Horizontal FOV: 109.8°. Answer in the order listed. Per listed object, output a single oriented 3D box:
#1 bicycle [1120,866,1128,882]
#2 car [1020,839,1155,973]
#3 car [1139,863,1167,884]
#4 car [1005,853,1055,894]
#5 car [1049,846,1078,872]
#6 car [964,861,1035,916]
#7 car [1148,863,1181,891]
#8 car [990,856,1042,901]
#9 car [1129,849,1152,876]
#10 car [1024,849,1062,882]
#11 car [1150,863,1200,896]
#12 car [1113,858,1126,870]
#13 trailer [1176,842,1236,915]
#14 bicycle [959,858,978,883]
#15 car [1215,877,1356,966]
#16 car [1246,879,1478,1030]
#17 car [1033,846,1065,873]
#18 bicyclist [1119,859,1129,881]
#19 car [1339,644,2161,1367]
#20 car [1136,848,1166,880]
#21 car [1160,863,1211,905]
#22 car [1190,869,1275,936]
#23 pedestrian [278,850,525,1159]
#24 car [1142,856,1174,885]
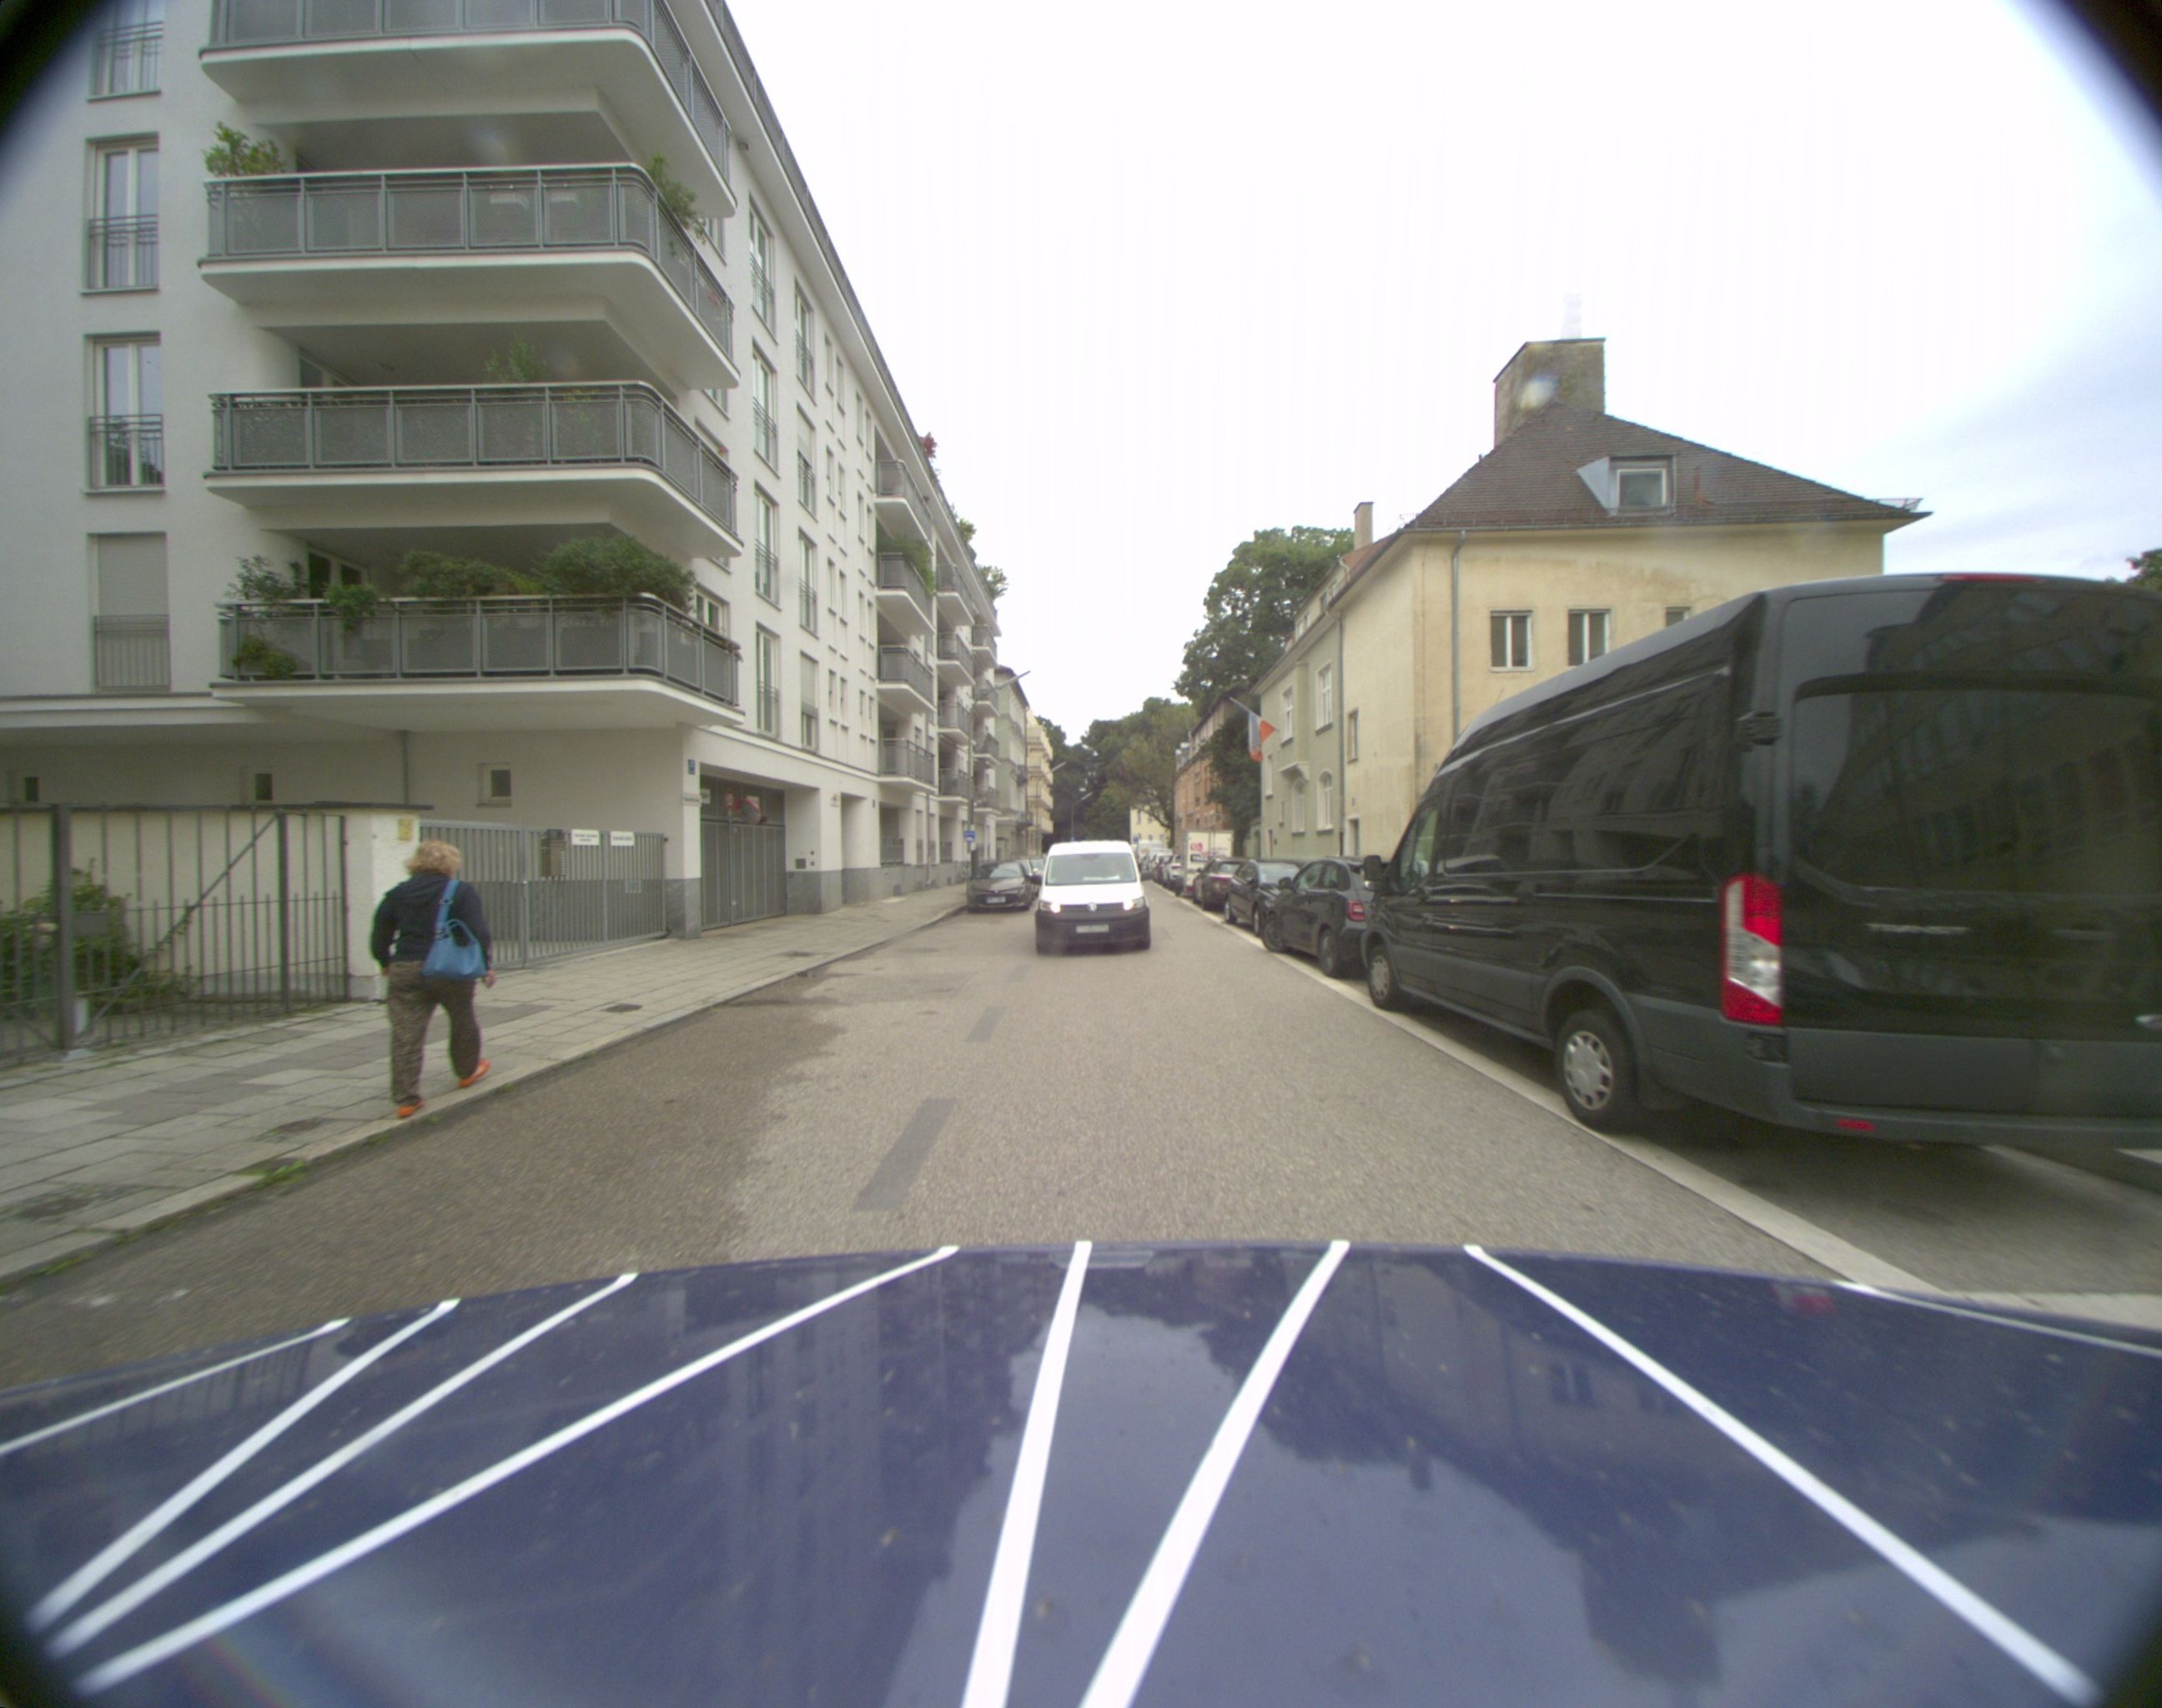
[{"bbox_3d":[3.169,1.471,55.861,0.505,1.121,1.773,0,0,4],"label":"bicycle"},{"bbox_3d":[0.183,0.723,12.402,1.776,1.761,4.001,-2,0,3],"label":"car"},{"bbox_3d":[5.141,1.375,54.881,1.694,1.434,4.145,1,0,1],"label":"car"},{"bbox_3d":[-2.134,0.787,32.916,1.738,1.521,4.621,-3,0,0],"label":"car"},{"bbox_3d":[-1.311,0.405,59.732,1.858,1.885,4.592,-3,0,3],"label":"car"},{"bbox_3d":[-2.353,0.964,22.919,1.768,1.400,4.077,-1,1,-1],"label":"car"},{"bbox_3d":[4.777,1.294,43.799,1.477,1.458,3.313,1,0,0],"label":"car"},{"bbox_3d":[-2.334,0.864,28.115,1.523,1.521,3.527,-2,0,1],"label":"car"},{"bbox_3d":[5.952,0.863,76.585,2.118,2.525,4.422,2,0,2],"label":"car"},{"bbox_3d":[-1.885,0.561,38.654,1.608,1.521,3.984,-3,0,0],"label":"car"},{"bbox_3d":[4.666,1.258,38.421,1.865,1.404,4.332,1,1,-1],"label":"car"},{"bbox_3d":[4.714,1.175,92.927,1.585,1.403,3.612,0,1,2],"label":"car"},{"bbox_3d":[4.487,0.830,27.864,1.713,2.447,4.387,1,0,4],"label":"trailer"},{"bbox_3d":[-5.434,0.774,36.695,0.629,1.153,2.127,0,0,-1],"label":"bicycle"},{"bbox_3d":[3.955,1.247,15.330,1.705,1.437,3.824,-2,0,-1],"label":"car"},{"bbox_3d":[3.602,1.199,10.424,1.590,1.529,3.541,-1,1,-6],"label":"car"},{"bbox_3d":[-1.824,0.296,44.472,1.662,1.431,4.206,-3,0,0],"label":"car"},{"bbox_3d":[3.181,1.184,55.922,0.695,1.552,0.967,0,1,4],"label":"bicyclist"},{"bbox_3d":[3.757,0.571,5.444,2.093,2.620,5.377,-1,0,2],"label":"car"},{"bbox_3d":[5.500,0.762,60.526,1.986,2.463,5.223,1,0,2],"label":"car"},{"bbox_3d":[4.447,1.242,32.874,1.691,1.594,3.921,1,1,1],"label":"car"},{"bbox_3d":[4.165,1.284,21.578,1.770,1.529,4.541,1,1,4],"label":"car"},{"bbox_3d":[-4.108,0.857,4.669,0.796,1.718,0.672,-2,2,-6],"label":"pedestrian"},{"bbox_3d":[5.027,1.045,49.943,1.694,1.793,4.145,1,0,0],"label":"car"}]
